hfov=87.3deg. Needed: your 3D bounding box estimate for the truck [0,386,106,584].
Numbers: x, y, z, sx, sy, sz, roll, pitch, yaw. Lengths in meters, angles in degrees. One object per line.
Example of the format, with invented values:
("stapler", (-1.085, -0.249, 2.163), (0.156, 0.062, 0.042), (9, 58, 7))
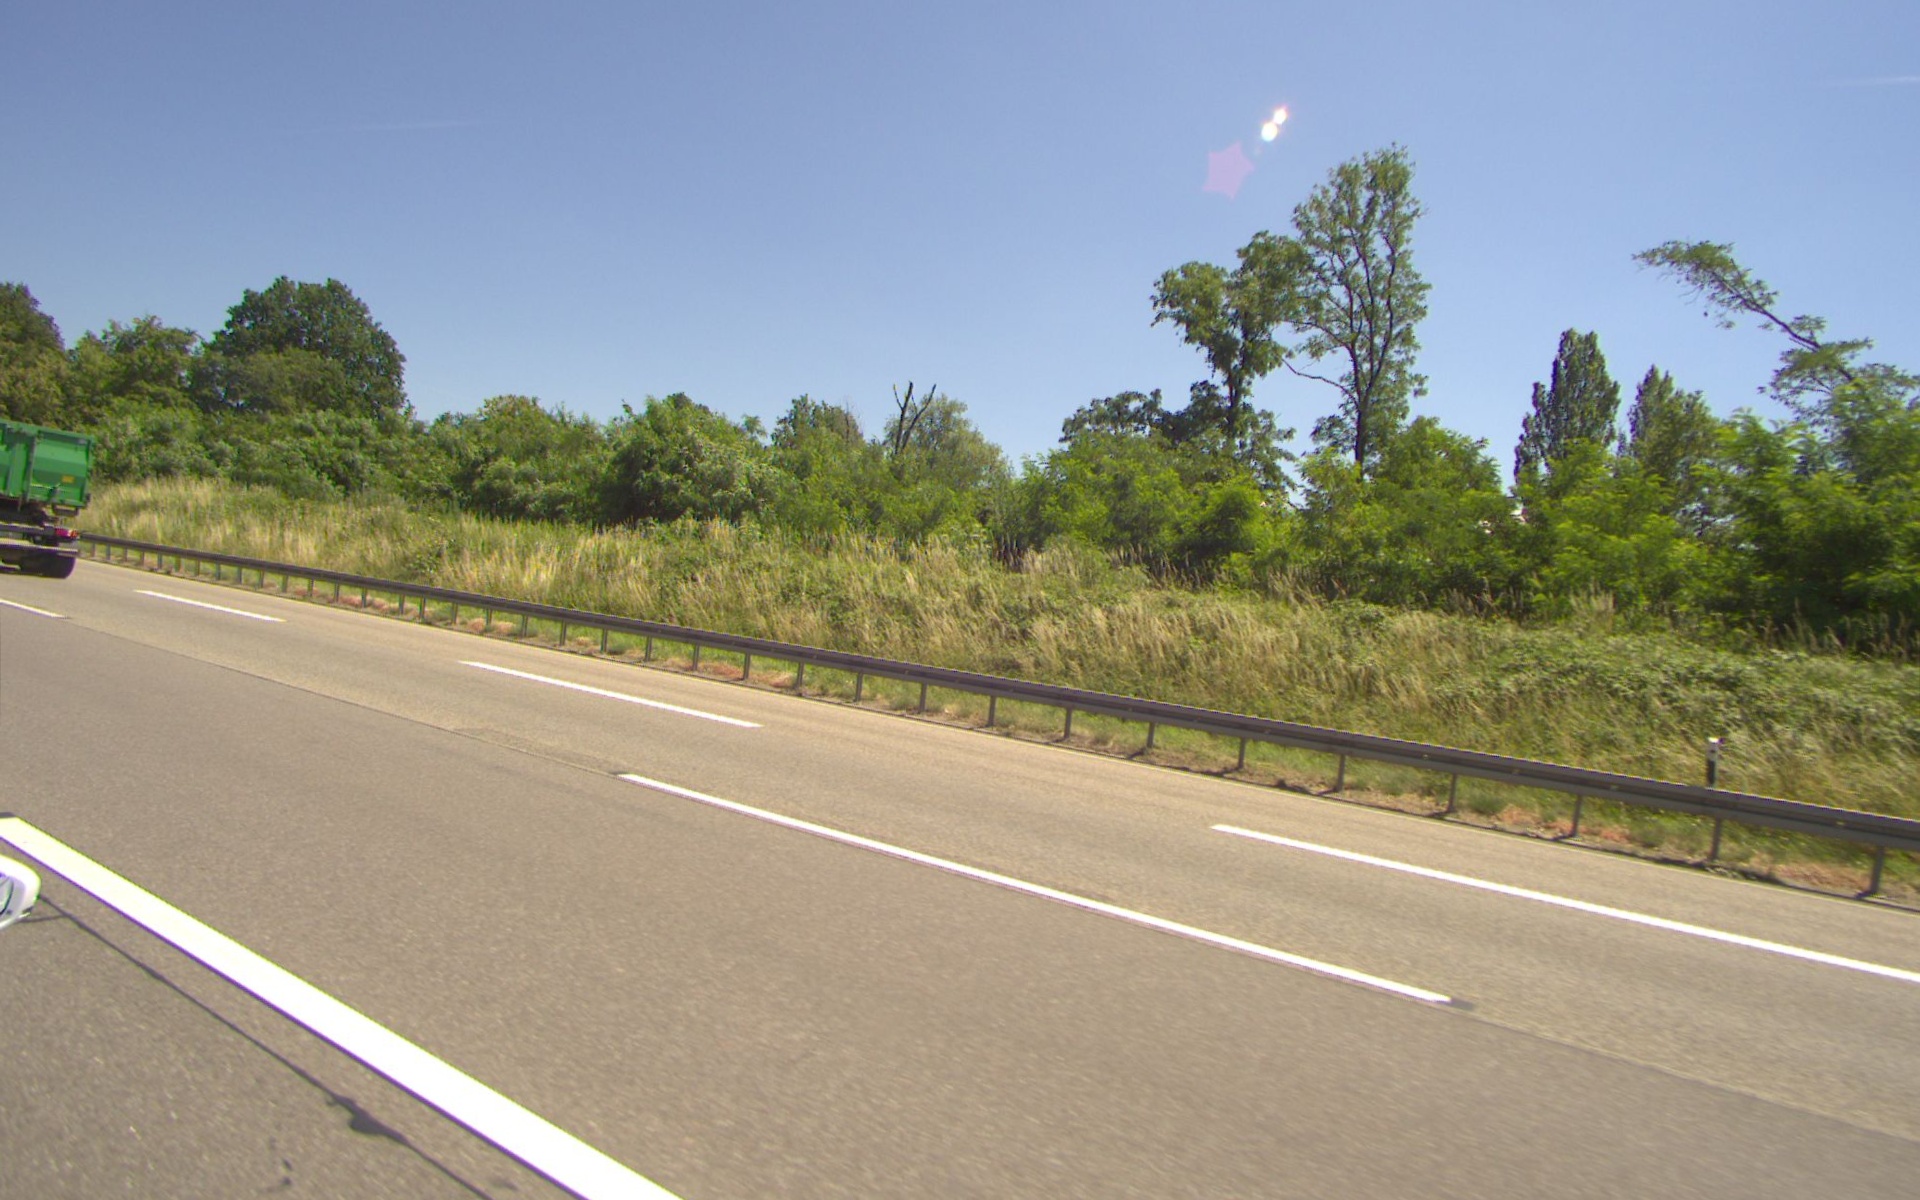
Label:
("truck", (-24.699, -2.984, 23.954), (12.271, 3.842, 2.686), (7, -1, 32))
